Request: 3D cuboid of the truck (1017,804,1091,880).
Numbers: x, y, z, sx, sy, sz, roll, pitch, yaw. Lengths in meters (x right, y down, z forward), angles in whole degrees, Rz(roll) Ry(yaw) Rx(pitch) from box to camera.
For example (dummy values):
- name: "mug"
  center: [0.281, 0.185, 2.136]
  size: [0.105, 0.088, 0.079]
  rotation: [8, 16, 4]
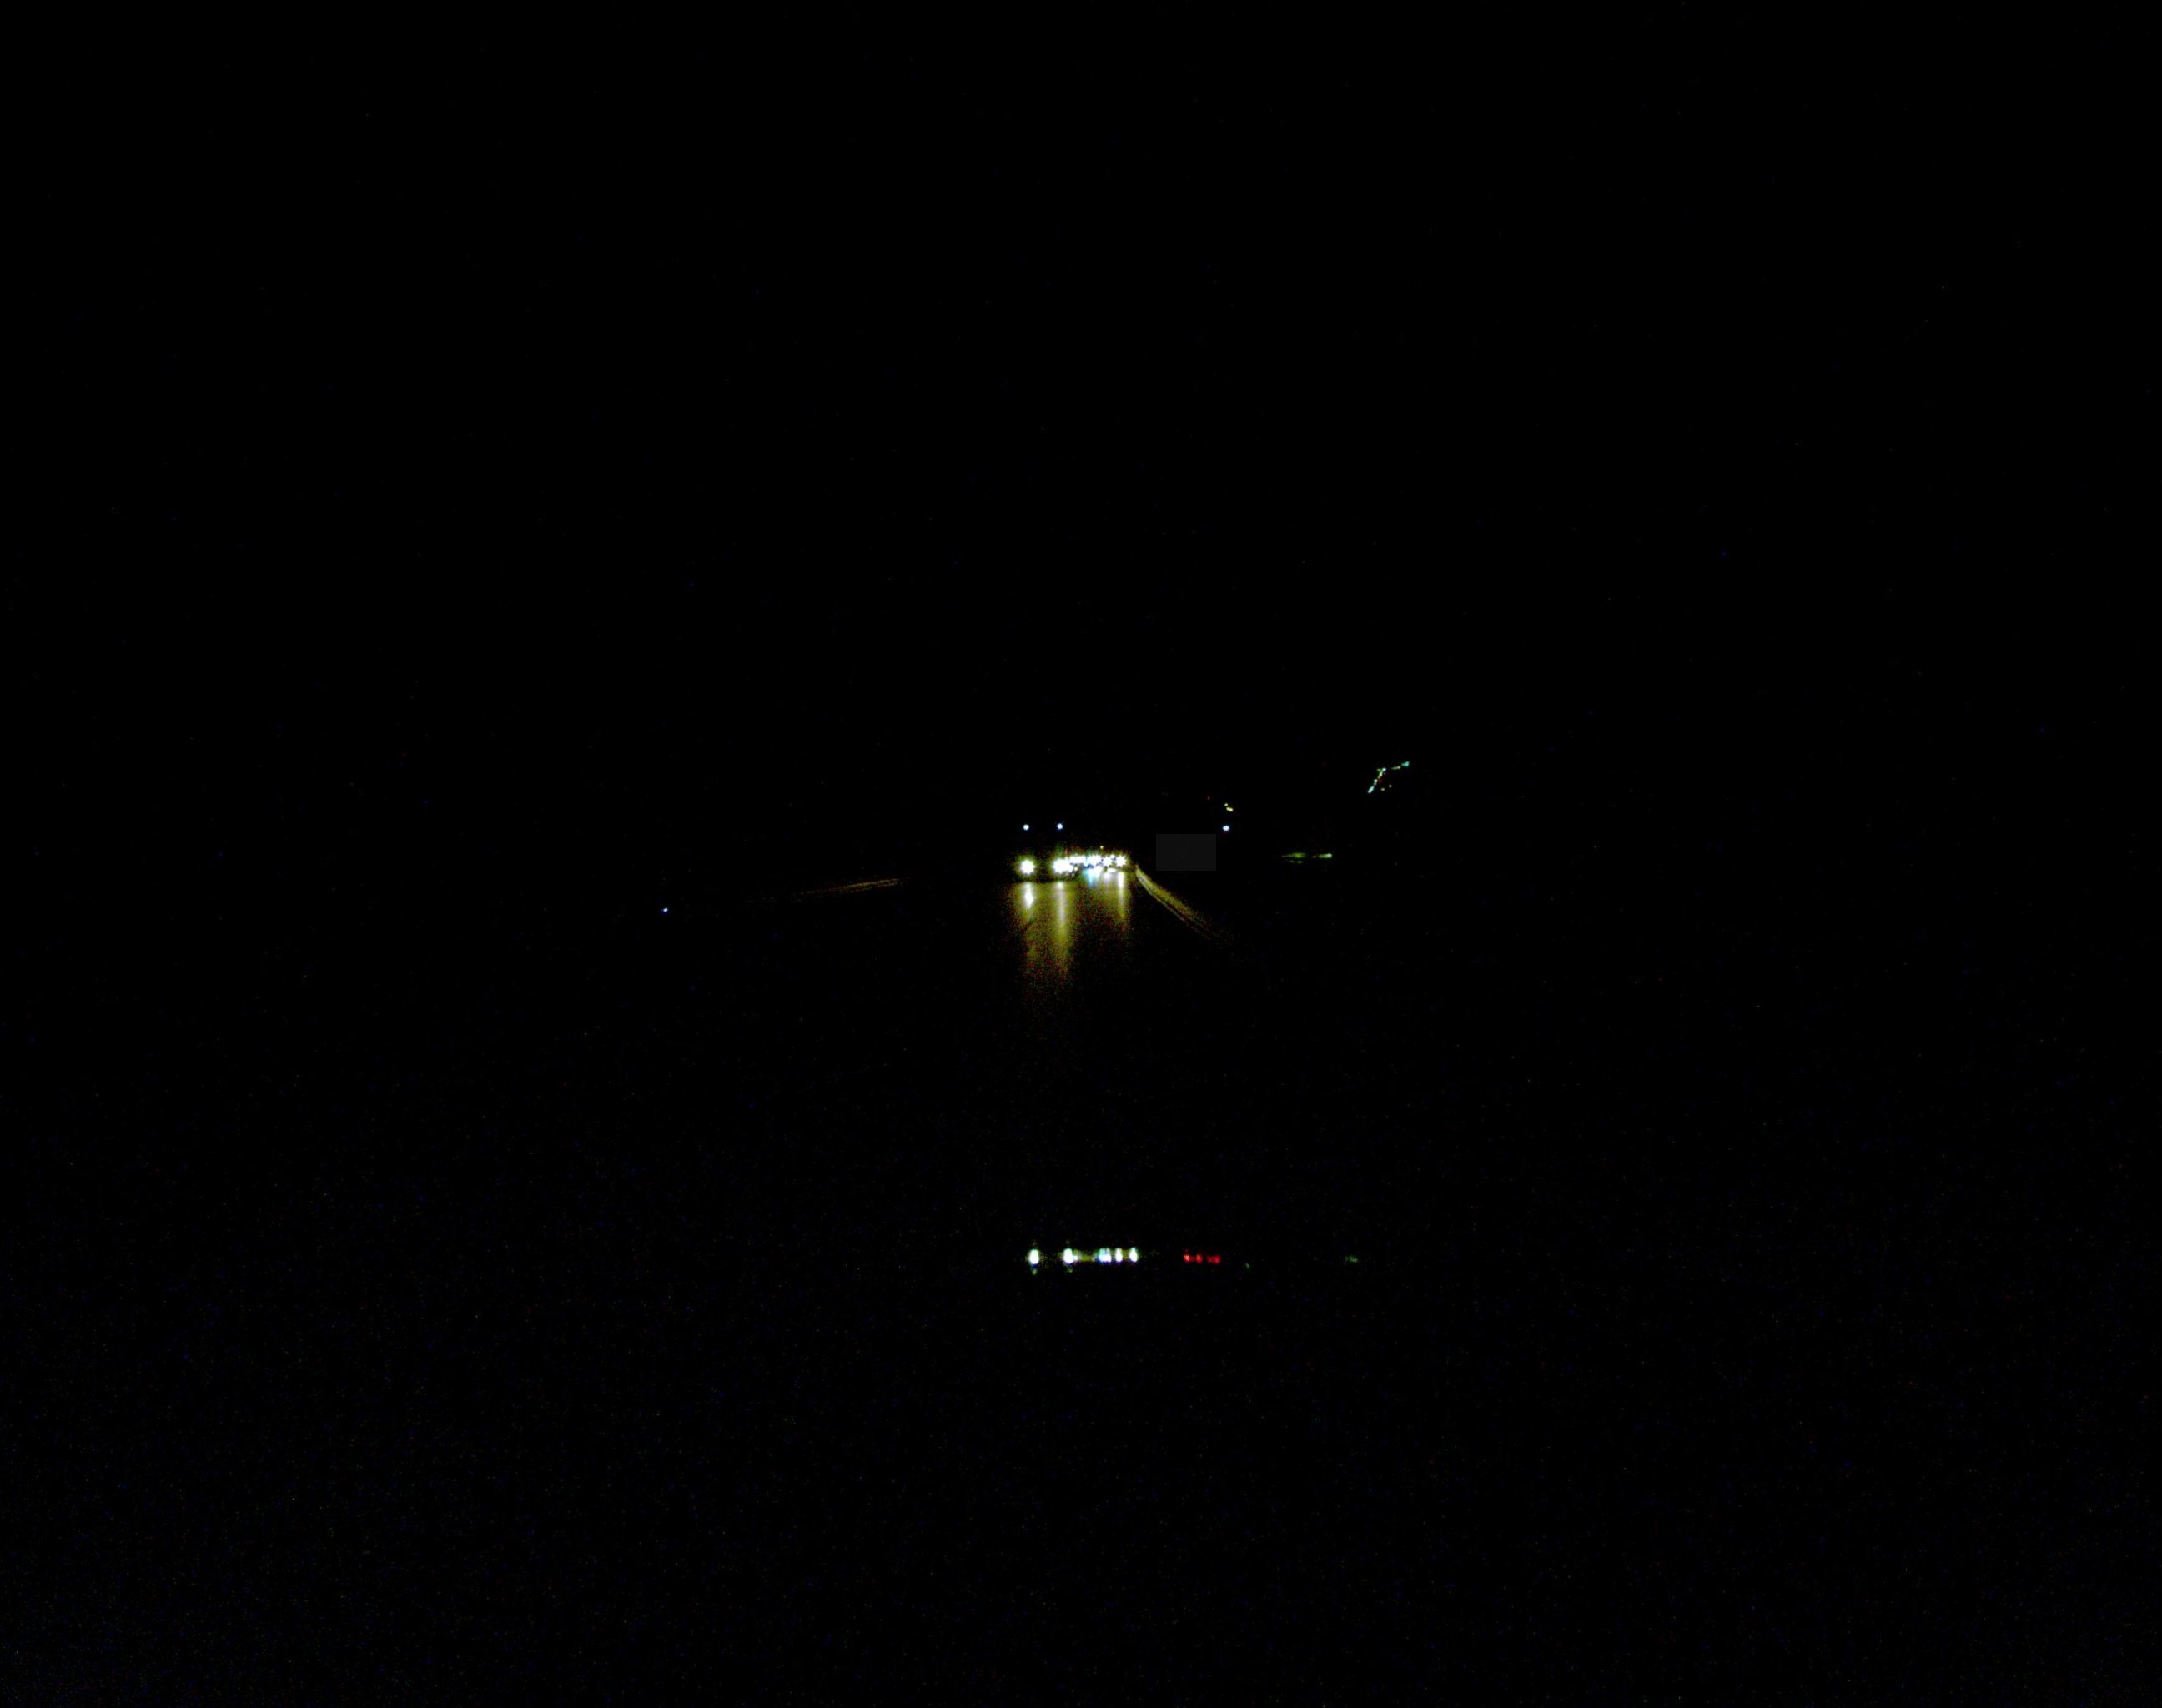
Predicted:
- name: "truck"
  center: [-1.417, -0.841, 51.847]
  size: [2.971, 4.250, 17.147]
  rotation: [-2, 1, 4]

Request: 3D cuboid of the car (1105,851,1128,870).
- name: "car"
  center: [2.933, 0.528, 63.694]
  size: [1.812, 1.508, 3.936]
  rotation: [-2, -1, 2]

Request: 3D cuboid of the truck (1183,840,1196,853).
- name: "truck"
  center: [21.464, -1.518, 149.635]
  size: [2.305, 2.460, 6.275]
  rotation: [-2, 2, 10]

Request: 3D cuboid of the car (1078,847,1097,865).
- name: "car"
  center: [0.653, 0.232, 75.653]
  size: [1.691, 1.619, 4.723]
  rotation: [-2, -1, 2]

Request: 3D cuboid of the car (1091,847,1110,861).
- name: "car"
  center: [2.290, -0.022, 88.273]
  size: [1.811, 1.508, 3.938]
  rotation: [-2, -1, 7]

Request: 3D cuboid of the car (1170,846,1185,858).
- name: "car"
  center: [12.720, -0.235, 100.173]
  size: [1.812, 1.508, 3.937]
  rotation: [-2, -1, 5]

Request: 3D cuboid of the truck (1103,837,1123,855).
- name: "truck"
  center: [4.629, -1.133, 107.860]
  size: [2.426, 2.410, 7.094]
  rotation: [-2, 0, 5]
